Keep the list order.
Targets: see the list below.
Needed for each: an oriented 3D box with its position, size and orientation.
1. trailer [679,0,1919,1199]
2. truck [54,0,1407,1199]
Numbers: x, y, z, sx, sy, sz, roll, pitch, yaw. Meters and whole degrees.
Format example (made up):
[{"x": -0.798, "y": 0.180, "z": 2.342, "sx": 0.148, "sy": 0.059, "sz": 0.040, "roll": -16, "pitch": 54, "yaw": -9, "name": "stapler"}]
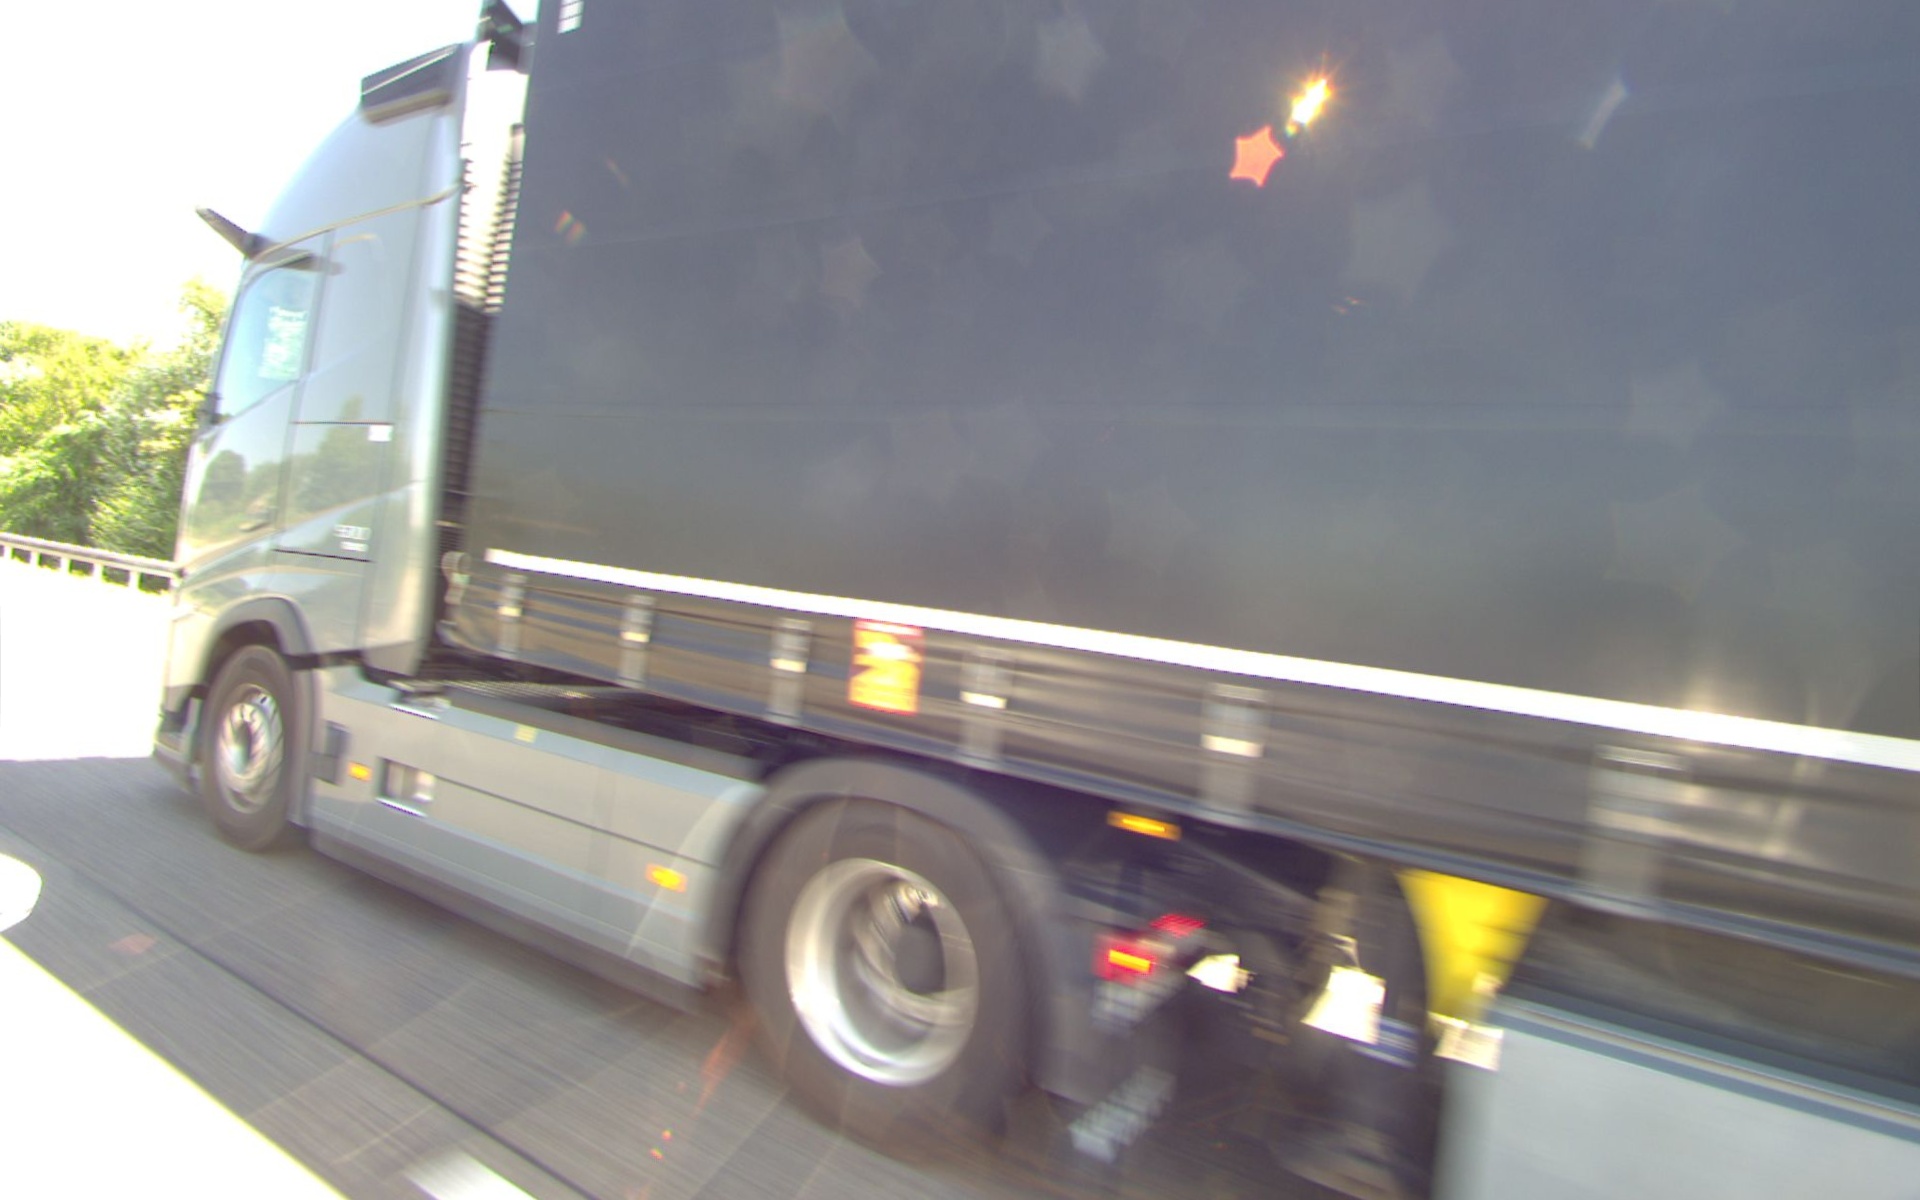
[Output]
[{"x": 5.662, "y": 0.176, "z": 0.634, "sx": 13.314, "sy": 4.001, "sz": 2.557, "roll": 6, "pitch": -1, "yaw": 32, "name": "trailer"}, {"x": -1.566, "y": -0.632, "z": 5.148, "sx": 6.406, "sy": 4.001, "sz": 2.557, "roll": 7, "pitch": -1, "yaw": 32, "name": "truck"}]
